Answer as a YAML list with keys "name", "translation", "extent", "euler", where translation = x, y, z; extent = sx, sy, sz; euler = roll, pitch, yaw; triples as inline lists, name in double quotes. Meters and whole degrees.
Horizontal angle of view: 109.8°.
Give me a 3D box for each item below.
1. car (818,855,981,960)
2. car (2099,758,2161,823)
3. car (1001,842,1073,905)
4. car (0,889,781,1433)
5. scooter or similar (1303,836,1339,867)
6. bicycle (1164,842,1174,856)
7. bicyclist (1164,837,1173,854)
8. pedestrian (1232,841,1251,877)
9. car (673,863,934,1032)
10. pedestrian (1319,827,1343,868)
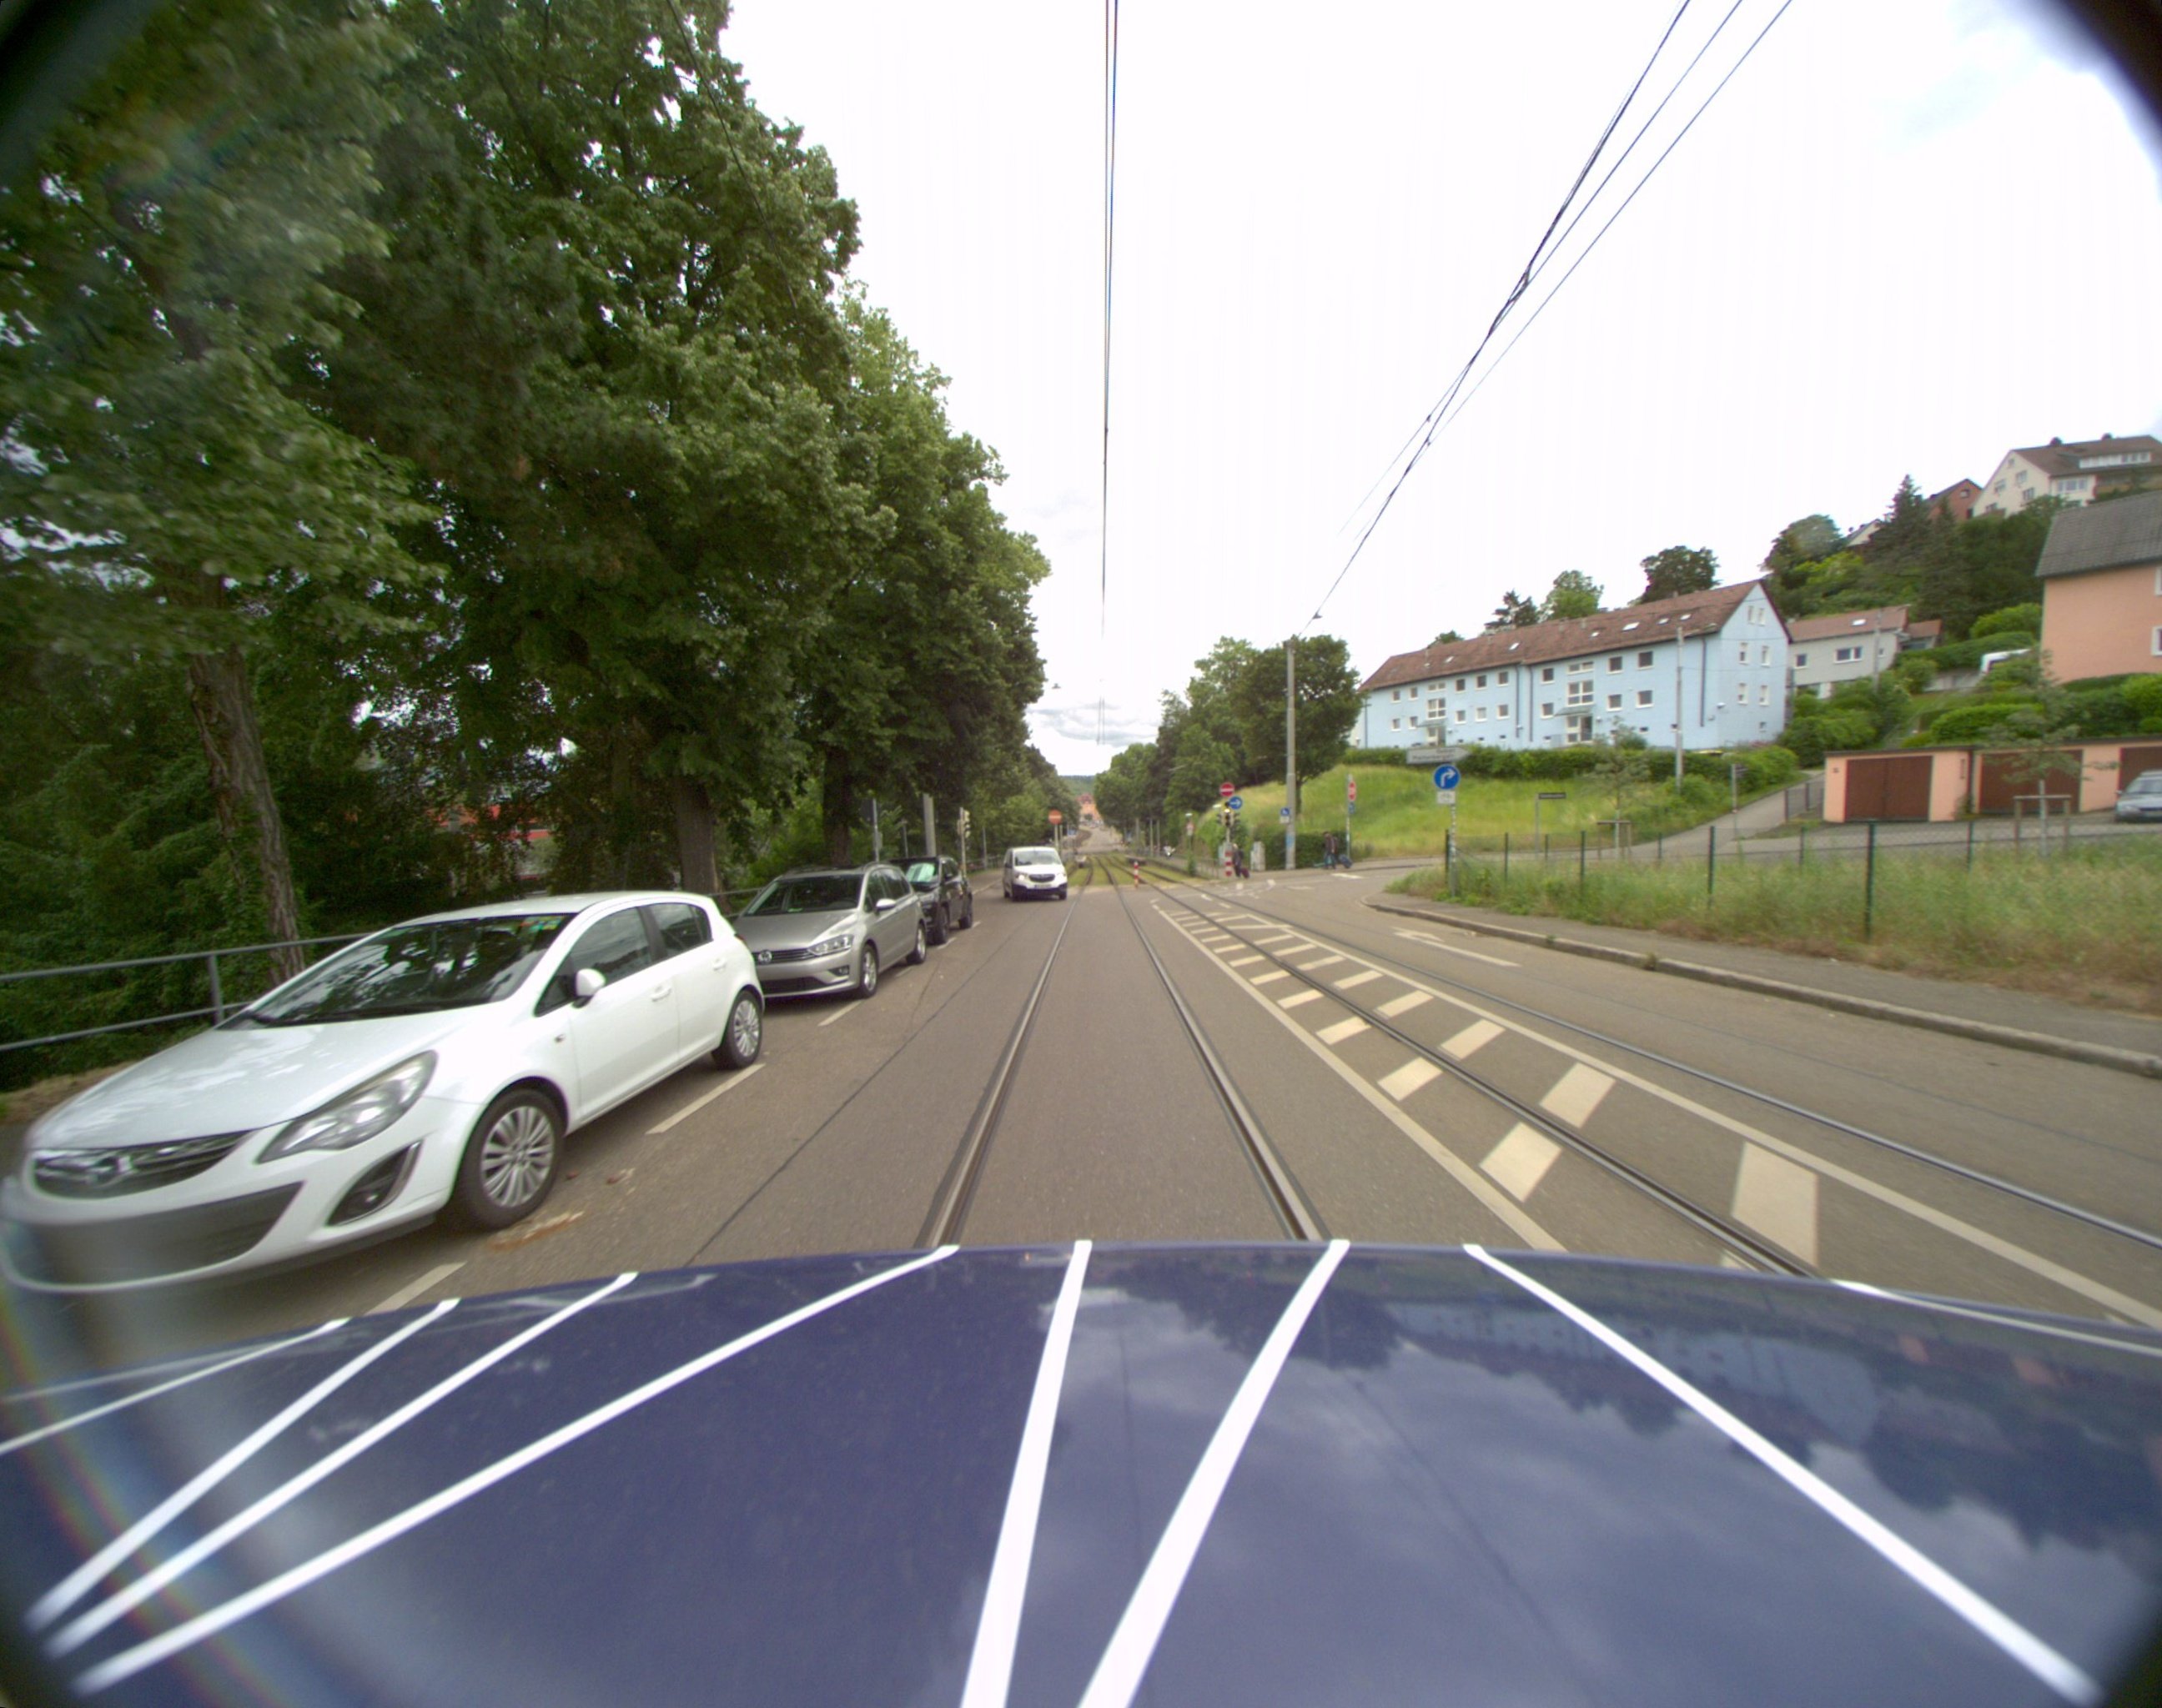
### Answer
- name: "car"
  translation: [-3.379, 0.911, 15.197]
  extent: [1.908, 1.606, 4.600]
  euler: [-3, 1, 2]
- name: "car"
  translation: [34.295, -2.094, 24.089]
  extent: [4.885, 1.604, 1.995]
  euler: [-9, 5, -31]
- name: "car"
  translation: [-1.624, 0.571, 26.285]
  extent: [1.811, 1.910, 4.473]
  euler: [-3, 2, -11]
- name: "car"
  translation: [-3.460, 1.143, 4.562]
  extent: [1.633, 1.508, 4.063]
  euler: [-5, 1, -1]
- name: "scooter or similar"
  translation: [11.142, -0.135, 35.307]
  extent: [1.412, 1.282, 0.418]
  euler: [-6, 2, 2]
- name: "bicycle"
  translation: [8.341, -0.472, 72.115]
  extent: [0.752, 1.233, 2.867]
  euler: [-3, 0, 5]
- name: "bicyclist"
  translation: [8.358, -0.806, 72.613]
  extent: [0.706, 1.619, 1.032]
  euler: [-3, 0, 4]
- name: "pedestrian"
  translation: [7.188, 0.202, 34.096]
  extent: [0.752, 1.565, 0.757]
  euler: [-2, 2, 8]
- name: "car"
  translation: [-3.317, 1.006, 10.113]
  extent: [1.738, 1.566, 4.364]
  euler: [-3, 1, 1]
- name: "pedestrian"
  translation: [11.176, -0.295, 34.000]
  extent: [0.901, 1.741, 0.743]
  euler: [-2, 2, 14]
